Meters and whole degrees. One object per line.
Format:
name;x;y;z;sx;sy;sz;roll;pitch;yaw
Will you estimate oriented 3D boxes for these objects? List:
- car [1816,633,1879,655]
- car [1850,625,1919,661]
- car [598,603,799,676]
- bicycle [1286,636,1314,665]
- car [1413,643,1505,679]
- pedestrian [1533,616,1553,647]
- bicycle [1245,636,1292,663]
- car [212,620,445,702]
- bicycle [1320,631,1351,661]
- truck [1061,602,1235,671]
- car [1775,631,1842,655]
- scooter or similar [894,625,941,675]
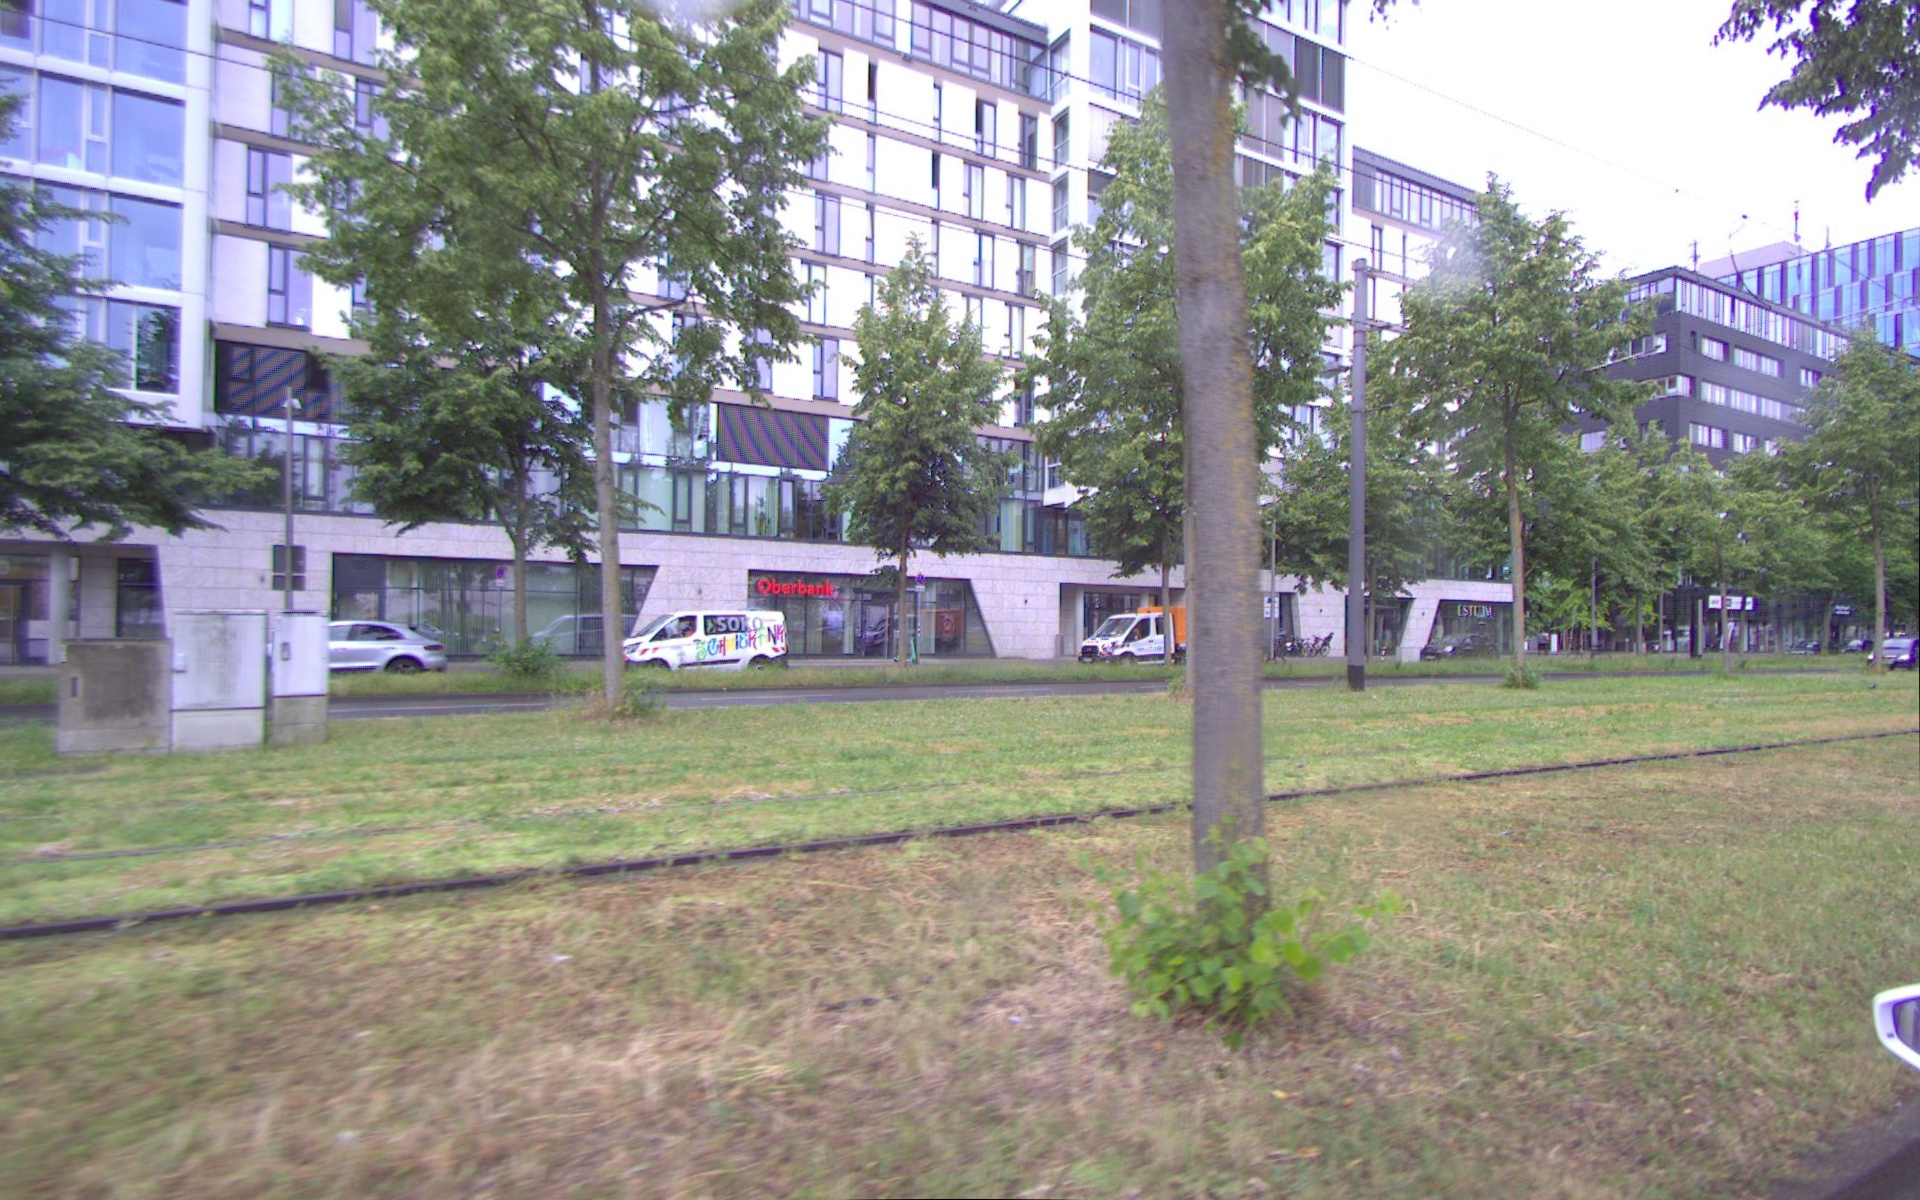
car;58.225;2.891;65.895;3.953;1.396;1.984;1;-1;-30
car;45.562;2.073;49.101;3.655;1.678;1.985;1;-1;-29
car;-7.258;1.088;28.040;5.104;1.876;1.984;1;-1;-30
bicycle;18.029;2.657;53.307;0.540;1.502;1.425;1;-1;-30
car;22.246;2.682;44.785;3.942;1.484;1.846;1;-1;-30
pedestrian;37.732;2.024;65.048;0.846;2.007;0.790;1;-1;-30
bicycle;11.268;1.819;36.657;1.734;0.957;0.597;1;-1;-26
car;-14.601;1.361;23.523;4.411;1.735;2.134;1;-1;-30
bicycle;20.533;2.495;54.964;0.600;1.559;1.560;1;-1;-30
truck;6.960;1.325;36.848;6.234;2.322;2.415;1;-1;-30
car;52.988;2.674;62.724;3.953;1.396;1.984;1;-1;-30
scooter or similar;-1.676;1.939;39.294;0.875;1.849;2.112;1;-1;-33
